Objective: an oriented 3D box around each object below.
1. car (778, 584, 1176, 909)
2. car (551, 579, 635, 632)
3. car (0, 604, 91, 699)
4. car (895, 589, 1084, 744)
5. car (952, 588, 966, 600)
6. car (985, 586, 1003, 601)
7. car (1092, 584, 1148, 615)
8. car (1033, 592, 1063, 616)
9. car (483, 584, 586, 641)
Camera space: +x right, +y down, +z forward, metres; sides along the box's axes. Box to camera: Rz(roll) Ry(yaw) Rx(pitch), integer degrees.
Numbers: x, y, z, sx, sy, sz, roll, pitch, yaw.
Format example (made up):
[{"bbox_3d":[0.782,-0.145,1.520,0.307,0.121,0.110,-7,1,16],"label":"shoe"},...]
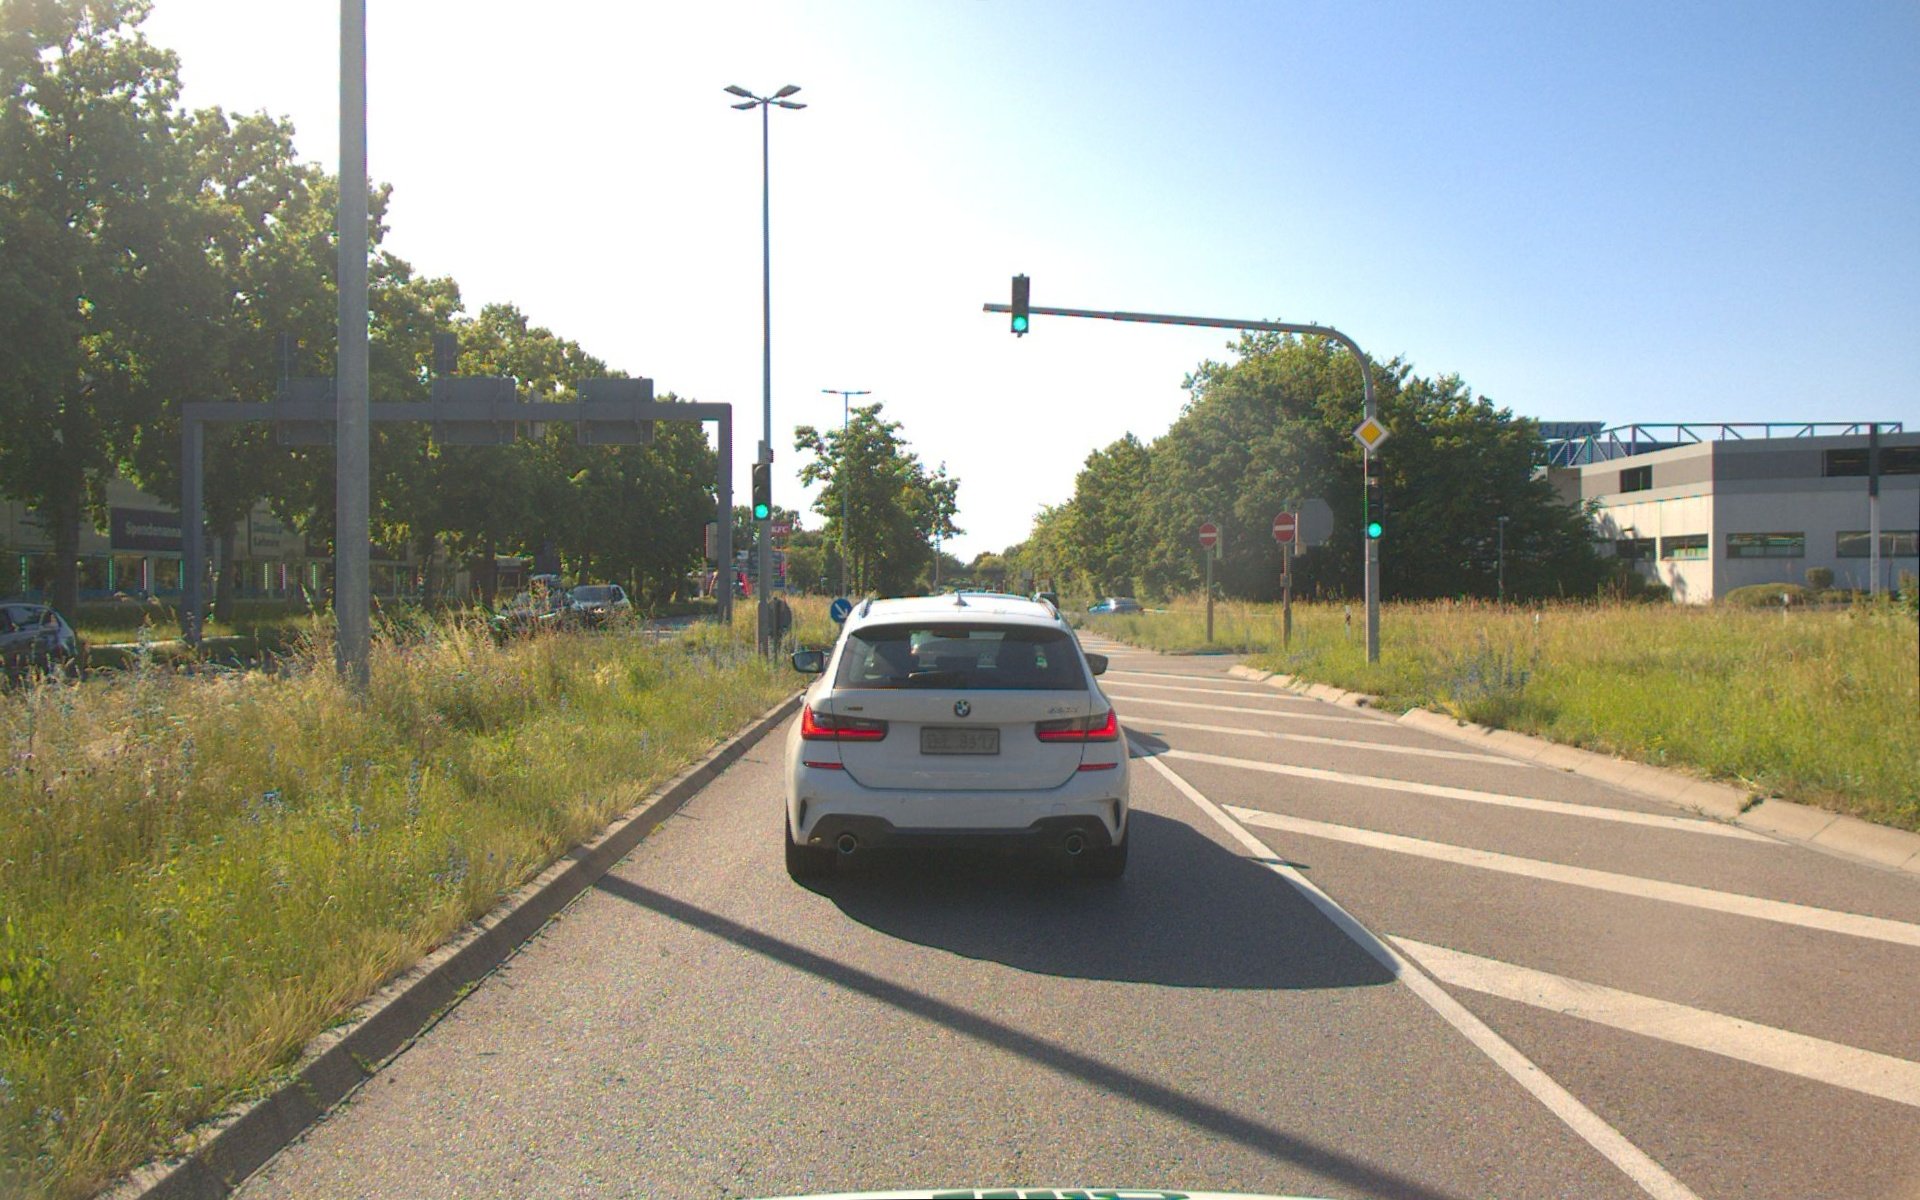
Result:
[{"bbox_3d":[0.078,0.655,9.903,1.823,1.480,4.547,0,1,0],"label":"car"},{"bbox_3d":[-12.757,0.157,57.740,1.902,1.726,4.629,-2,1,-1],"label":"car"},{"bbox_3d":[-15.698,0.823,26.004,1.744,1.450,4.381,-2,0,-1],"label":"car"},{"bbox_3d":[0.260,0.634,18.318,1.824,1.480,4.547,0,0,-1],"label":"car"},{"bbox_3d":[-0.117,-0.887,225.574,1.824,1.592,4.547,0,1,-1],"label":"car"},{"bbox_3d":[3.689,-0.688,182.103,1.824,1.592,4.547,0,1,-1],"label":"car"},{"bbox_3d":[7.970,-0.033,82.661,1.827,1.525,4.328,0,0,-9],"label":"car"},{"bbox_3d":[6.073,0.265,113.900,1.736,1.583,3.832,0,0,-2],"label":"car"},{"bbox_3d":[-12.564,0.333,49.129,1.838,1.569,4.572,-2,0,0],"label":"car"}]
